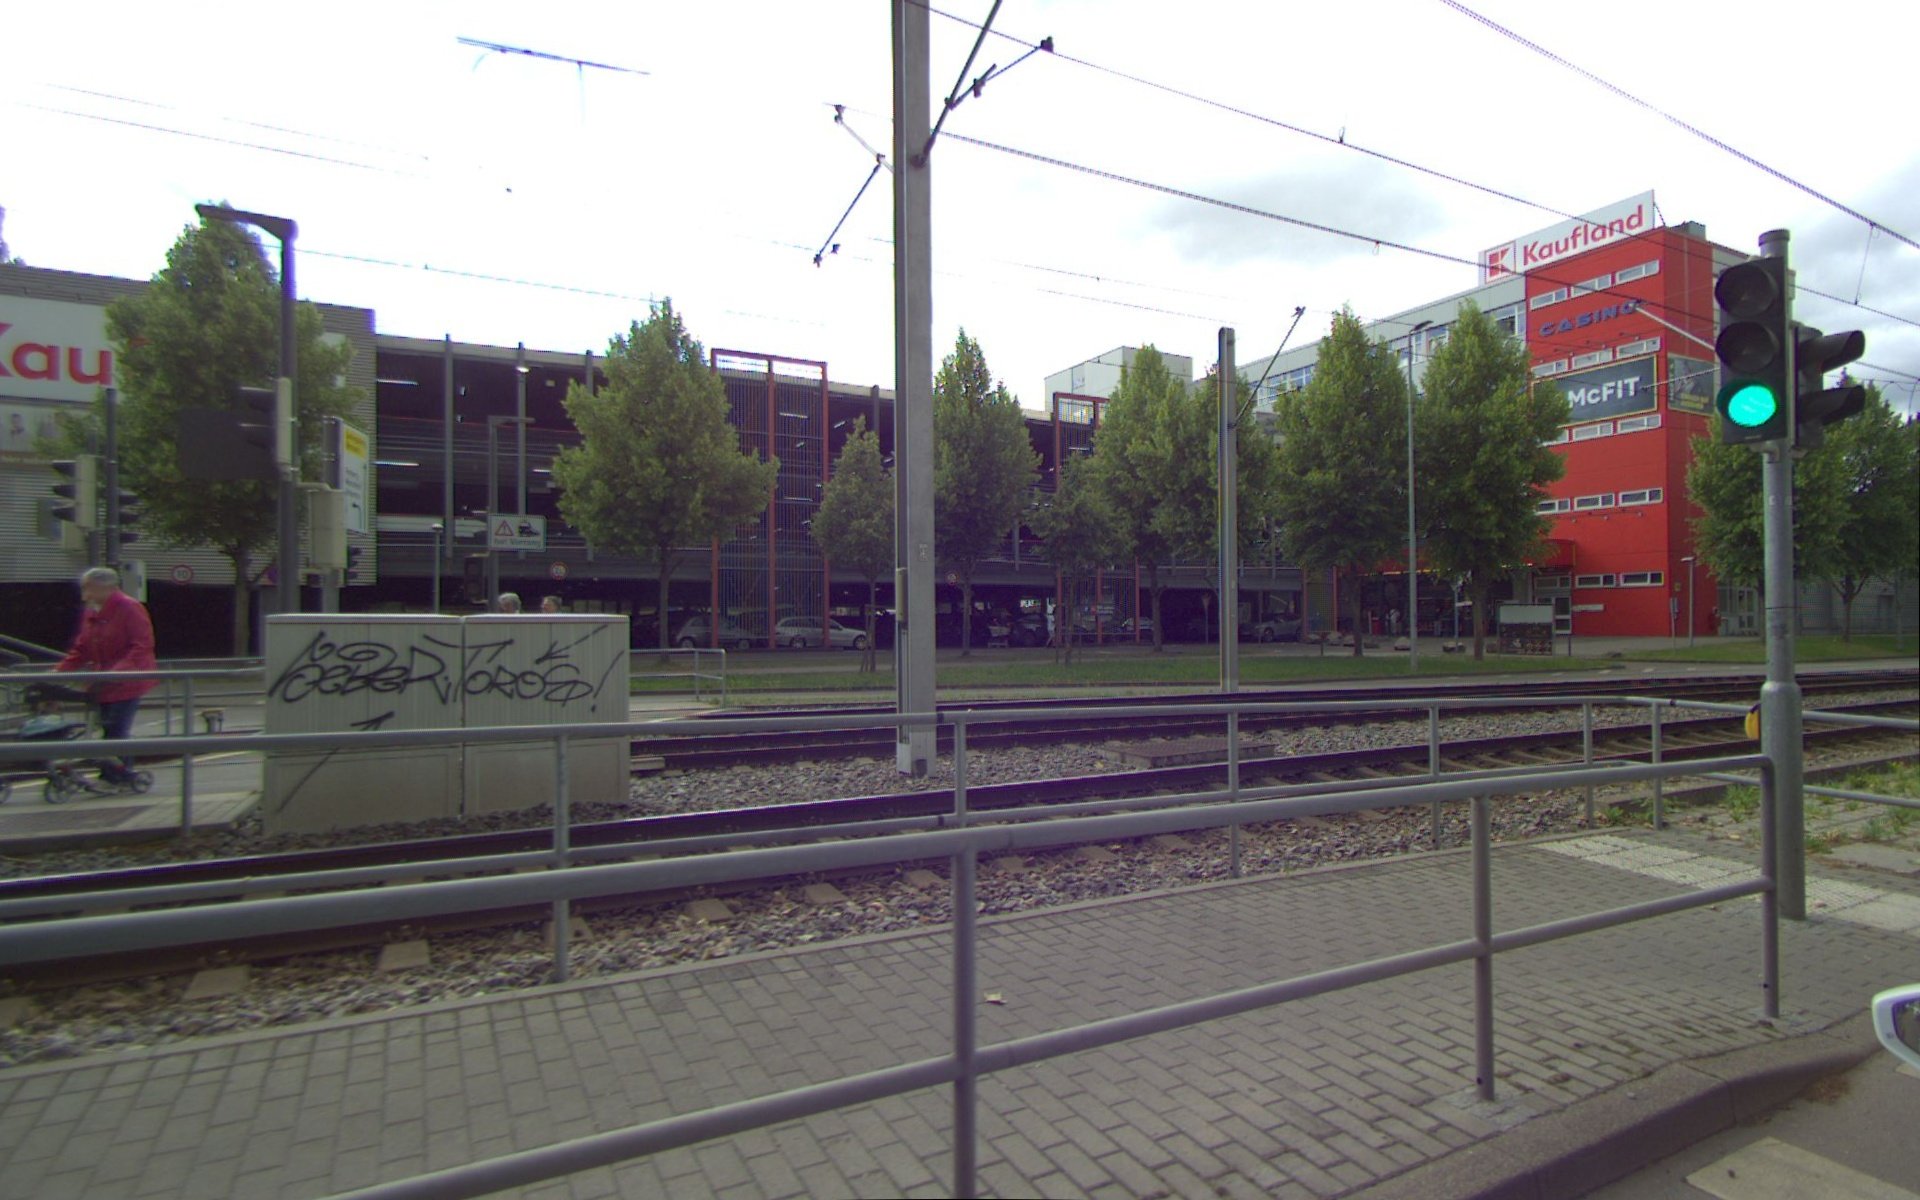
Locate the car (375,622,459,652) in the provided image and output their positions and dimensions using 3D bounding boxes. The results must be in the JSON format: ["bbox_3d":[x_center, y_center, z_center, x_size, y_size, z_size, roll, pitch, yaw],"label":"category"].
[{"bbox_3d":[-23.599,1.586,43.762,3.177,1.240,1.433,1,-1,-28],"label":"car"}]

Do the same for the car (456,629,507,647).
[{"bbox_3d":[-39.337,3.110,82.529,3.646,1.418,1.431,1,-3,-32],"label":"car"}]

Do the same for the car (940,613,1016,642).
[{"bbox_3d":[0.941,1.415,52.204,3.630,1.495,1.666,1,-1,-29],"label":"car"}]

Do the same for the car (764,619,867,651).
[{"bbox_3d":[-6.130,1.458,42.638,4.024,1.322,1.628,1,-1,-30],"label":"car"}]

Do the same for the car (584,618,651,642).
[{"bbox_3d":[-18.092,1.586,53.027,3.177,1.240,1.433,1,-3,-28],"label":"car"}]

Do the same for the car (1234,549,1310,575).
[{"bbox_3d":[17.389,-2.097,55.942,4.396,1.243,1.429,1,-1,-30],"label":"car"}]

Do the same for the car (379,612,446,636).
[{"bbox_3d":[-29.991,1.328,55.140,3.177,1.240,1.433,1,-3,-28],"label":"car"}]

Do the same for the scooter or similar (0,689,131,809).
[{"bbox_3d":[-6.429,1.034,7.047,0.784,0.778,0.497,0,-3,-8],"label":"scooter or similar"}]

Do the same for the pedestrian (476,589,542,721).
[{"bbox_3d":[-6.037,0.728,13.482,0.717,1.720,0.654,0,-3,-18],"label":"pedestrian"}]

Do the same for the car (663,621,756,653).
[{"bbox_3d":[-10.098,1.477,40.563,3.430,1.240,1.433,1,-1,-28],"label":"car"}]

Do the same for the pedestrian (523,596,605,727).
[{"bbox_3d":[-5.105,0.781,13.002,0.926,1.632,0.712,0,-3,-18],"label":"pedestrian"}]

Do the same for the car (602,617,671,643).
[{"bbox_3d":[-16.420,1.537,51.025,3.177,1.240,1.433,1,-3,-28],"label":"car"}]

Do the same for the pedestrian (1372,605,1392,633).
[{"bbox_3d":[26.698,1.213,63.514,0.856,1.717,0.734,1,-3,-29],"label":"pedestrian"}]

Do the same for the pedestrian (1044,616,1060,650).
[{"bbox_3d":[4.159,1.472,45.602,0.606,1.526,0.419,0,0,-28],"label":"pedestrian"}]

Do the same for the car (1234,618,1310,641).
[{"bbox_3d":[17.365,1.651,55.871,4.396,1.243,1.448,1,-1,-30],"label":"car"}]

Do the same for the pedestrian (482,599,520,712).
[{"bbox_3d":[-6.960,0.835,15.247,0.458,1.683,0.516,0,-3,-18],"label":"pedestrian"}]

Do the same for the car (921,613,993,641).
[{"bbox_3d":[-0.157,1.455,54.706,3.630,1.495,1.666,1,-1,-29],"label":"car"}]

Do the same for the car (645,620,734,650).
[{"bbox_3d":[-11.439,1.482,42.533,3.431,1.240,1.433,1,-3,-28],"label":"car"}]

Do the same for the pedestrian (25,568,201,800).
[{"bbox_3d":[-6.406,0.621,7.636,0.781,1.675,0.614,0,-3,-8],"label":"pedestrian"}]

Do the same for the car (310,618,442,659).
[{"bbox_3d":[-21.590,1.424,37.307,4.147,1.451,1.833,1,-3,-30],"label":"car"}]

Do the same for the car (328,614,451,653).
[{"bbox_3d":[-22.502,1.327,39.772,4.147,1.451,1.833,1,-3,-30],"label":"car"}]

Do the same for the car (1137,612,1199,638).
[{"bbox_3d":[13.305,1.613,64.298,3.767,1.572,1.665,1,-3,-31],"label":"car"}]

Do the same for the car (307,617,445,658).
[{"bbox_3d":[-20.063,1.275,34.683,4.024,1.342,1.628,1,-1,-30],"label":"car"}]

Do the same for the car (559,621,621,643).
[{"bbox_3d":[-24.495,2.108,66.474,3.701,1.386,1.628,1,-3,-29],"label":"car"}]

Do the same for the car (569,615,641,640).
[{"bbox_3d":[-20.312,1.579,57.560,3.701,1.386,1.628,1,-3,-29],"label":"car"}]

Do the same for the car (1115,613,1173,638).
[{"bbox_3d":[12.186,1.669,66.427,3.633,1.572,1.665,1,-1,-31],"label":"car"}]

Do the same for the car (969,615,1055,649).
[{"bbox_3d":[2.367,1.431,45.894,3.630,1.495,1.666,1,-1,-29],"label":"car"}]

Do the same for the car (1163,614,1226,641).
[{"bbox_3d":[14.591,1.728,62.388,3.599,1.572,1.759,1,-3,-31],"label":"car"}]

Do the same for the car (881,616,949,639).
[{"bbox_3d":[-2.611,1.562,58.321,3.630,1.302,1.666,1,-1,-29],"label":"car"}]

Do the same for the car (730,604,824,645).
[{"bbox_3d":[-8.587,1.168,47.273,4.005,1.838,1.833,1,-3,-30],"label":"car"}]

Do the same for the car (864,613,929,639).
[{"bbox_3d":[-3.838,1.592,60.884,3.630,1.495,1.666,1,-3,-29],"label":"car"}]

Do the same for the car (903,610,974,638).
[{"bbox_3d":[-1.203,1.356,56.512,3.630,1.437,1.666,-1,-2,-29],"label":"car"}]

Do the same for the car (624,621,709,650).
[{"bbox_3d":[-13.023,1.587,44.602,3.431,1.240,1.433,1,-3,-28],"label":"car"}]

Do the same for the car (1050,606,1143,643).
[{"bbox_3d":[7.203,1.282,52.778,4.809,1.913,1.666,1,-1,-29],"label":"car"}]
